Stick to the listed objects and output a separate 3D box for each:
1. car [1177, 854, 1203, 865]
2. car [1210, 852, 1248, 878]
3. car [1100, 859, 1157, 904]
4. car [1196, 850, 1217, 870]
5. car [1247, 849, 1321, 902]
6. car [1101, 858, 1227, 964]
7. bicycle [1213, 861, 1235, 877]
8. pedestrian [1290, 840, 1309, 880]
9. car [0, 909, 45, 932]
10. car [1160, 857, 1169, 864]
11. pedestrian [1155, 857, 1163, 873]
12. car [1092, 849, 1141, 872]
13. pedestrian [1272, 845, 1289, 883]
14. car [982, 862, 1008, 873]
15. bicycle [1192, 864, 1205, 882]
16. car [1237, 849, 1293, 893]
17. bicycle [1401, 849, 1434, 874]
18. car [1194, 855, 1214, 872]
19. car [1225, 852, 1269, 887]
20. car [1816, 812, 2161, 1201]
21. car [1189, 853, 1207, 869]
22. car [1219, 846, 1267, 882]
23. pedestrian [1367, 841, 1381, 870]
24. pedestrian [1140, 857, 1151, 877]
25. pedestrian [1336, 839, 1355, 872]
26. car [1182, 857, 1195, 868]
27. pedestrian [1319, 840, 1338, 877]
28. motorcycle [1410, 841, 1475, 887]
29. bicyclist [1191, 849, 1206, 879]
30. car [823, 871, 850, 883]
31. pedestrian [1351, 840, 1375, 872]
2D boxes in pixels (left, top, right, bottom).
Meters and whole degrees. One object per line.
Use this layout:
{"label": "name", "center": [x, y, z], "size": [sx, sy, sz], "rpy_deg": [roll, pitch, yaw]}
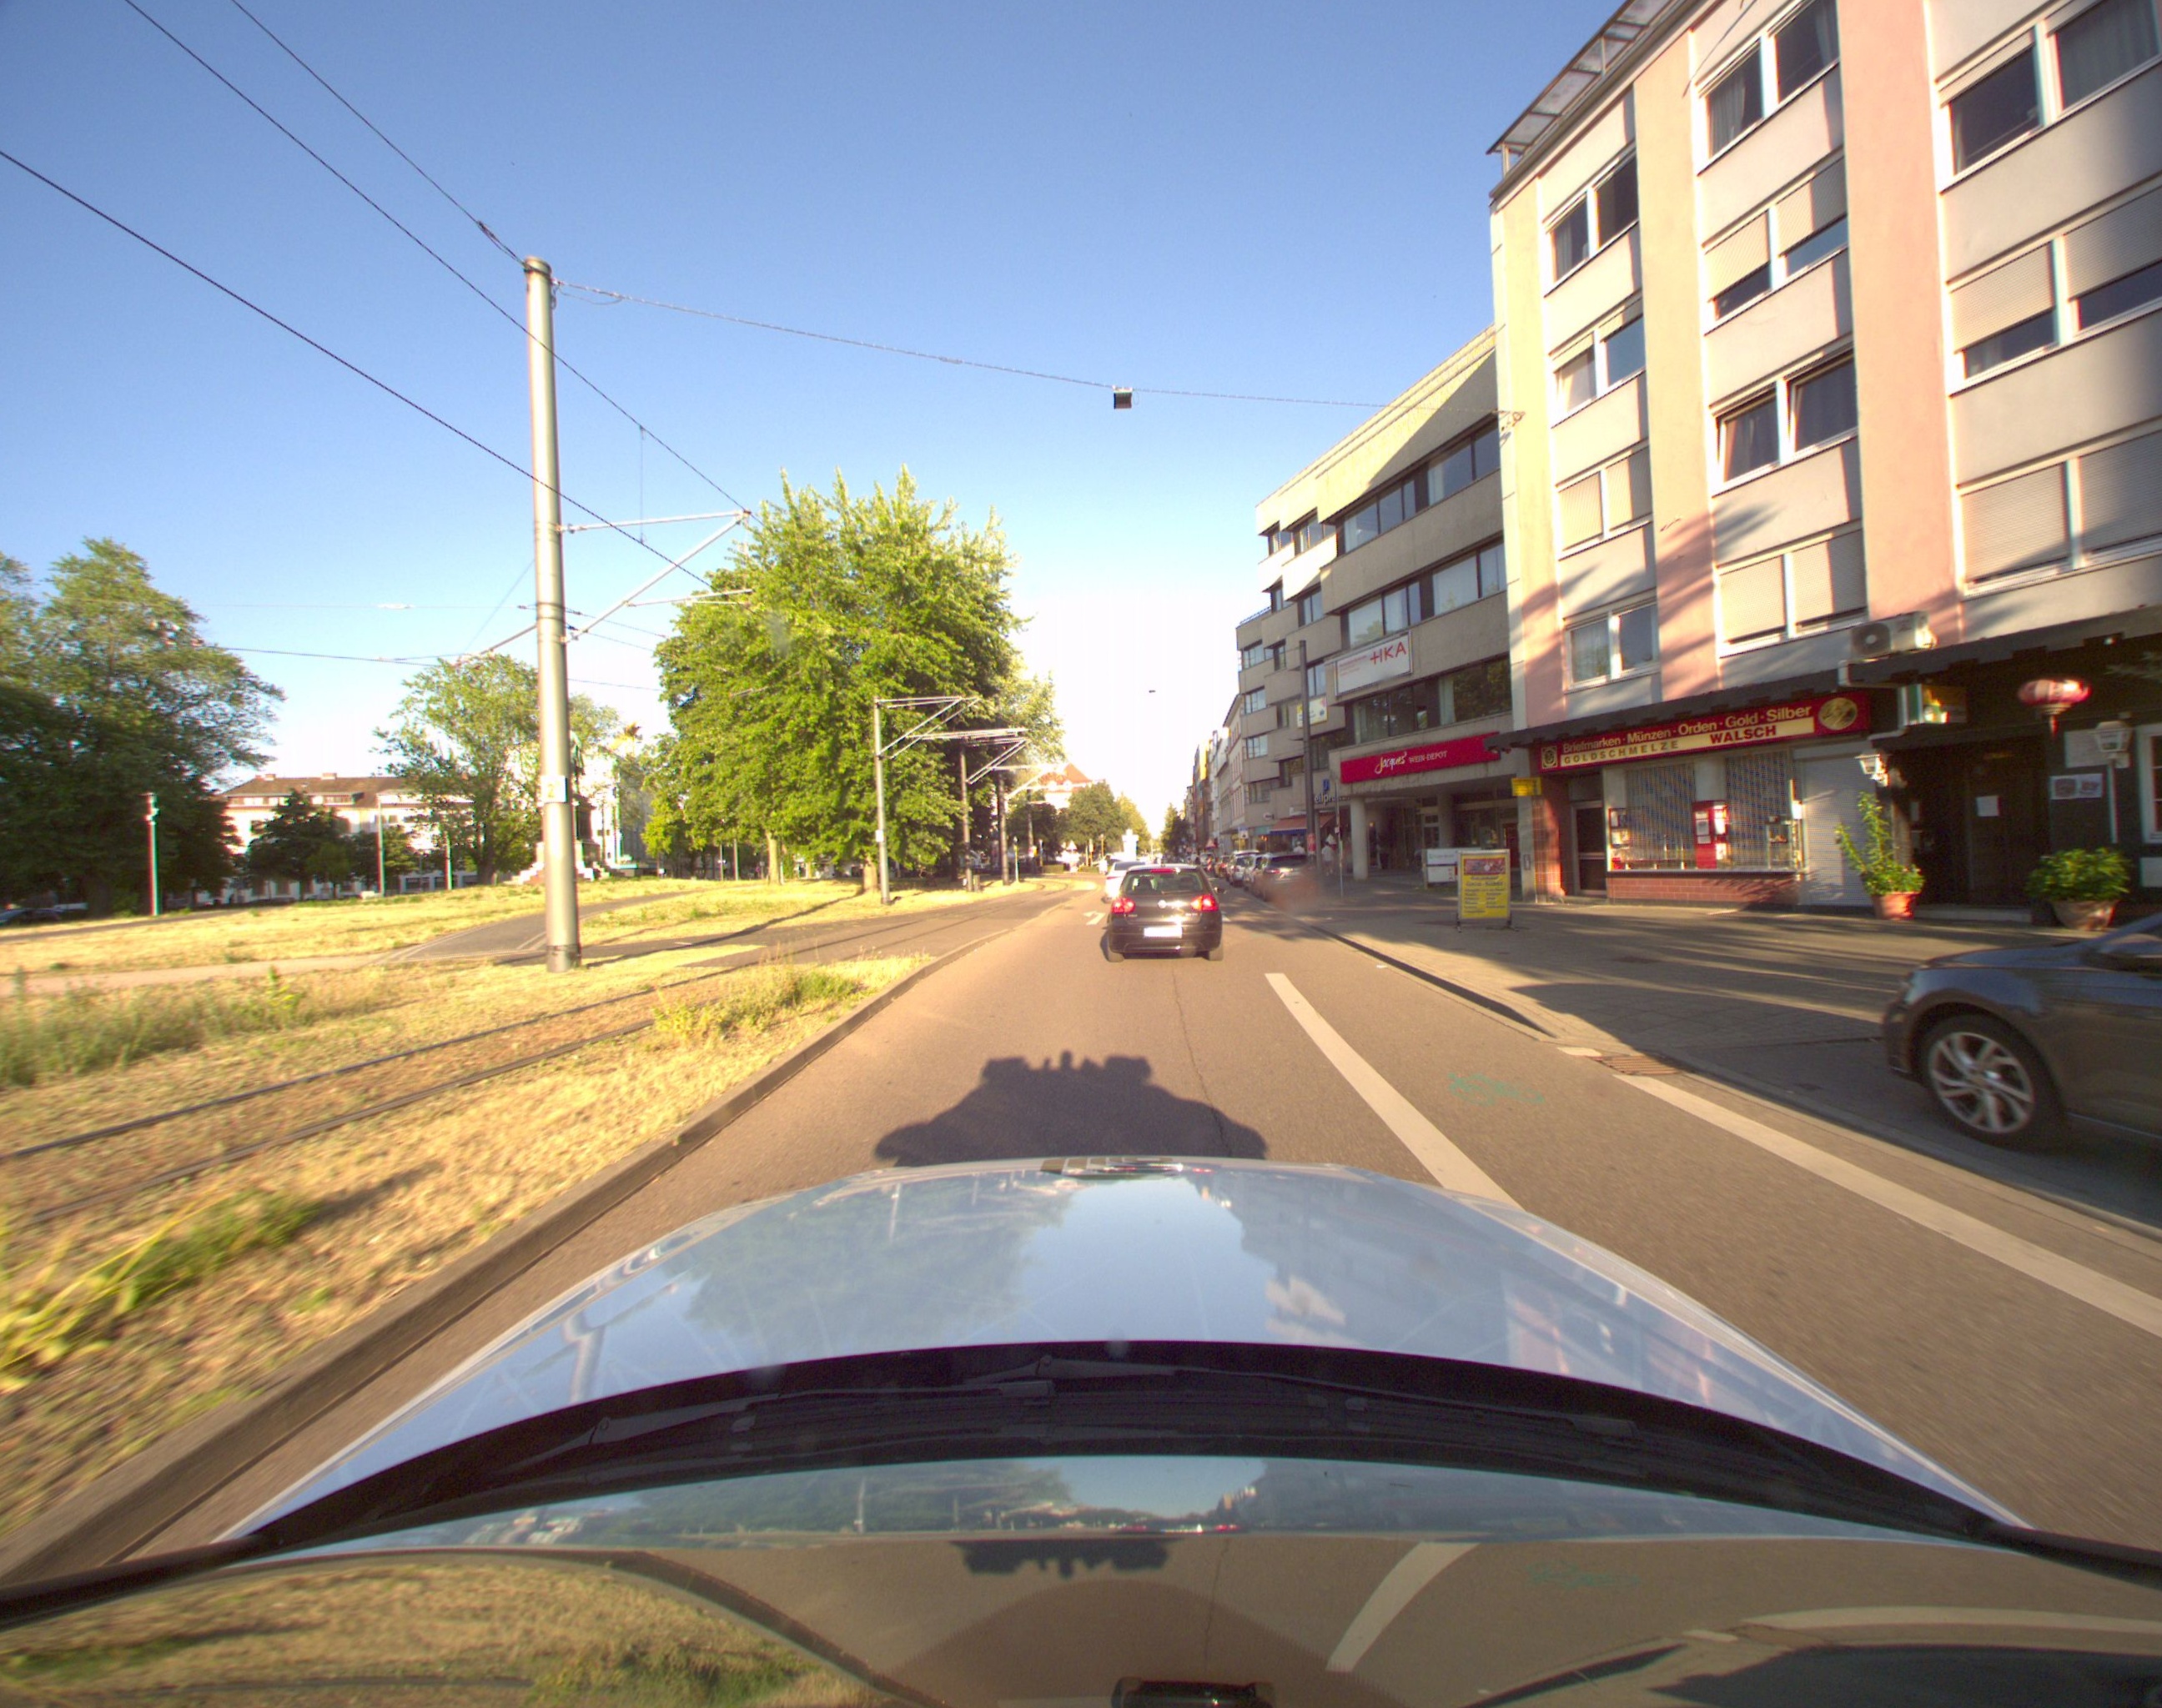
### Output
{"label": "car", "center": [18.850, 0.906, 140.499], "size": [3.953, 1.772, 2.011], "rpy_deg": [-2, 0, 21]}
{"label": "car", "center": [9.453, 0.699, 52.321], "size": [1.657, 1.441, 3.822], "rpy_deg": [-5, -1, 0]}
{"label": "car", "center": [1.768, 0.930, 29.374], "size": [1.856, 1.441, 4.202], "rpy_deg": [-2, 0, 5]}
{"label": "car", "center": [12.406, 0.631, 80.533], "size": [1.726, 1.800, 3.922], "rpy_deg": [-4, -1, 5]}
{"label": "car", "center": [6.930, 0.683, 28.194], "size": [1.773, 1.556, 4.241], "rpy_deg": [-5, -1, 6]}
{"label": "car", "center": [1.382, 0.830, 13.633], "size": [1.739, 1.461, 4.109], "rpy_deg": [-2, -1, 5]}
{"label": "bicycle", "center": [11.369, 1.192, 64.713], "size": [1.586, 1.119, 0.616], "rpy_deg": [-5, 0, 38]}
{"label": "pedestrian", "center": [10.507, 0.289, 39.175], "size": [0.619, 1.858, 0.663], "rpy_deg": [-5, -1, 6]}
{"label": "car", "center": [-70.305, 4.358, 52.815], "size": [1.541, 1.354, 3.528], "rpy_deg": [-1, 0, 7]}
{"label": "car", "center": [19.274, 1.585, 188.536], "size": [1.897, 1.552, 4.005], "rpy_deg": [-2, 0, 5]}
{"label": "pedestrian", "center": [7.472, 1.065, 78.053], "size": [0.733, 1.555, 0.632], "rpy_deg": [-2, -1, 2]}
{"label": "car", "center": [4.356, 0.808, 99.081], "size": [5.532, 2.595, 2.139], "rpy_deg": [-2, -1, -21]}
{"label": "pedestrian", "center": [9.638, 0.471, 39.373], "size": [0.575, 1.760, 0.663], "rpy_deg": [-5, -1, 6]}
{"label": "car", "center": [-13.250, 2.151, 125.294], "size": [3.622, 1.552, 1.652], "rpy_deg": [-2, -1, -18]}
{"label": "bicycle", "center": [6.475, 1.032, 44.926], "size": [0.576, 0.987, 1.938], "rpy_deg": [-1, -1, 5]}
{"label": "car", "center": [7.367, 0.663, 32.916], "size": [1.600, 1.556, 3.614], "rpy_deg": [-5, -1, 4]}
{"label": "bicycle", "center": [16.049, 0.335, 38.828], "size": [1.766, 1.072, 0.479], "rpy_deg": [-4, 0, -34]}
{"label": "car", "center": [12.917, 0.994, 85.737], "size": [1.726, 1.617, 3.922], "rpy_deg": [-4, -1, 5]}
{"label": "car", "center": [7.926, 0.712, 39.154], "size": [1.653, 1.441, 3.862], "rpy_deg": [-5, -1, 7]}
{"label": "car", "center": [5.029, 0.563, 2.713], "size": [1.720, 1.472, 3.903], "rpy_deg": [-5, -1, 4]}
{"label": "car", "center": [14.099, 0.828, 98.357], "size": [1.915, 1.841, 4.025], "rpy_deg": [-4, -1, 6]}
{"label": "car", "center": [8.811, 0.526, 44.693], "size": [1.859, 1.713, 4.509], "rpy_deg": [-5, -1, 3]}
{"label": "pedestrian", "center": [17.817, 0.106, 49.495], "size": [0.598, 1.760, 0.518], "rpy_deg": [-1, -1, -18]}
{"label": "pedestrian", "center": [5.736, 1.121, 72.017], "size": [0.857, 1.706, 0.941], "rpy_deg": [-1, -1, -1]}
{"label": "pedestrian", "center": [14.353, 0.086, 44.147], "size": [0.693, 1.727, 1.034], "rpy_deg": [-3, -1, 6]}
{"label": "car", "center": [16.444, 1.298, 124.755], "size": [1.744, 1.511, 3.549], "rpy_deg": [-4, -1, 4]}
{"label": "pedestrian", "center": [11.902, 0.216, 39.225], "size": [0.619, 1.740, 0.663], "rpy_deg": [-5, -1, 6]}
{"label": "motorcycle", "center": [11.582, 0.321, 26.103], "size": [1.781, 1.331, 0.582], "rpy_deg": [-4, -1, -7]}
{"label": "bicyclist", "center": [6.471, 0.569, 44.928], "size": [0.773, 1.618, 1.026], "rpy_deg": [-1, -1, 5]}
{"label": "car", "center": [-34.910, 3.286, 116.304], "size": [3.622, 1.552, 1.652], "rpy_deg": [-2, -1, -18]}
{"label": "pedestrian", "center": [15.185, 0.122, 43.885], "size": [0.984, 1.673, 0.643], "rpy_deg": [-3, -1, 6]}
